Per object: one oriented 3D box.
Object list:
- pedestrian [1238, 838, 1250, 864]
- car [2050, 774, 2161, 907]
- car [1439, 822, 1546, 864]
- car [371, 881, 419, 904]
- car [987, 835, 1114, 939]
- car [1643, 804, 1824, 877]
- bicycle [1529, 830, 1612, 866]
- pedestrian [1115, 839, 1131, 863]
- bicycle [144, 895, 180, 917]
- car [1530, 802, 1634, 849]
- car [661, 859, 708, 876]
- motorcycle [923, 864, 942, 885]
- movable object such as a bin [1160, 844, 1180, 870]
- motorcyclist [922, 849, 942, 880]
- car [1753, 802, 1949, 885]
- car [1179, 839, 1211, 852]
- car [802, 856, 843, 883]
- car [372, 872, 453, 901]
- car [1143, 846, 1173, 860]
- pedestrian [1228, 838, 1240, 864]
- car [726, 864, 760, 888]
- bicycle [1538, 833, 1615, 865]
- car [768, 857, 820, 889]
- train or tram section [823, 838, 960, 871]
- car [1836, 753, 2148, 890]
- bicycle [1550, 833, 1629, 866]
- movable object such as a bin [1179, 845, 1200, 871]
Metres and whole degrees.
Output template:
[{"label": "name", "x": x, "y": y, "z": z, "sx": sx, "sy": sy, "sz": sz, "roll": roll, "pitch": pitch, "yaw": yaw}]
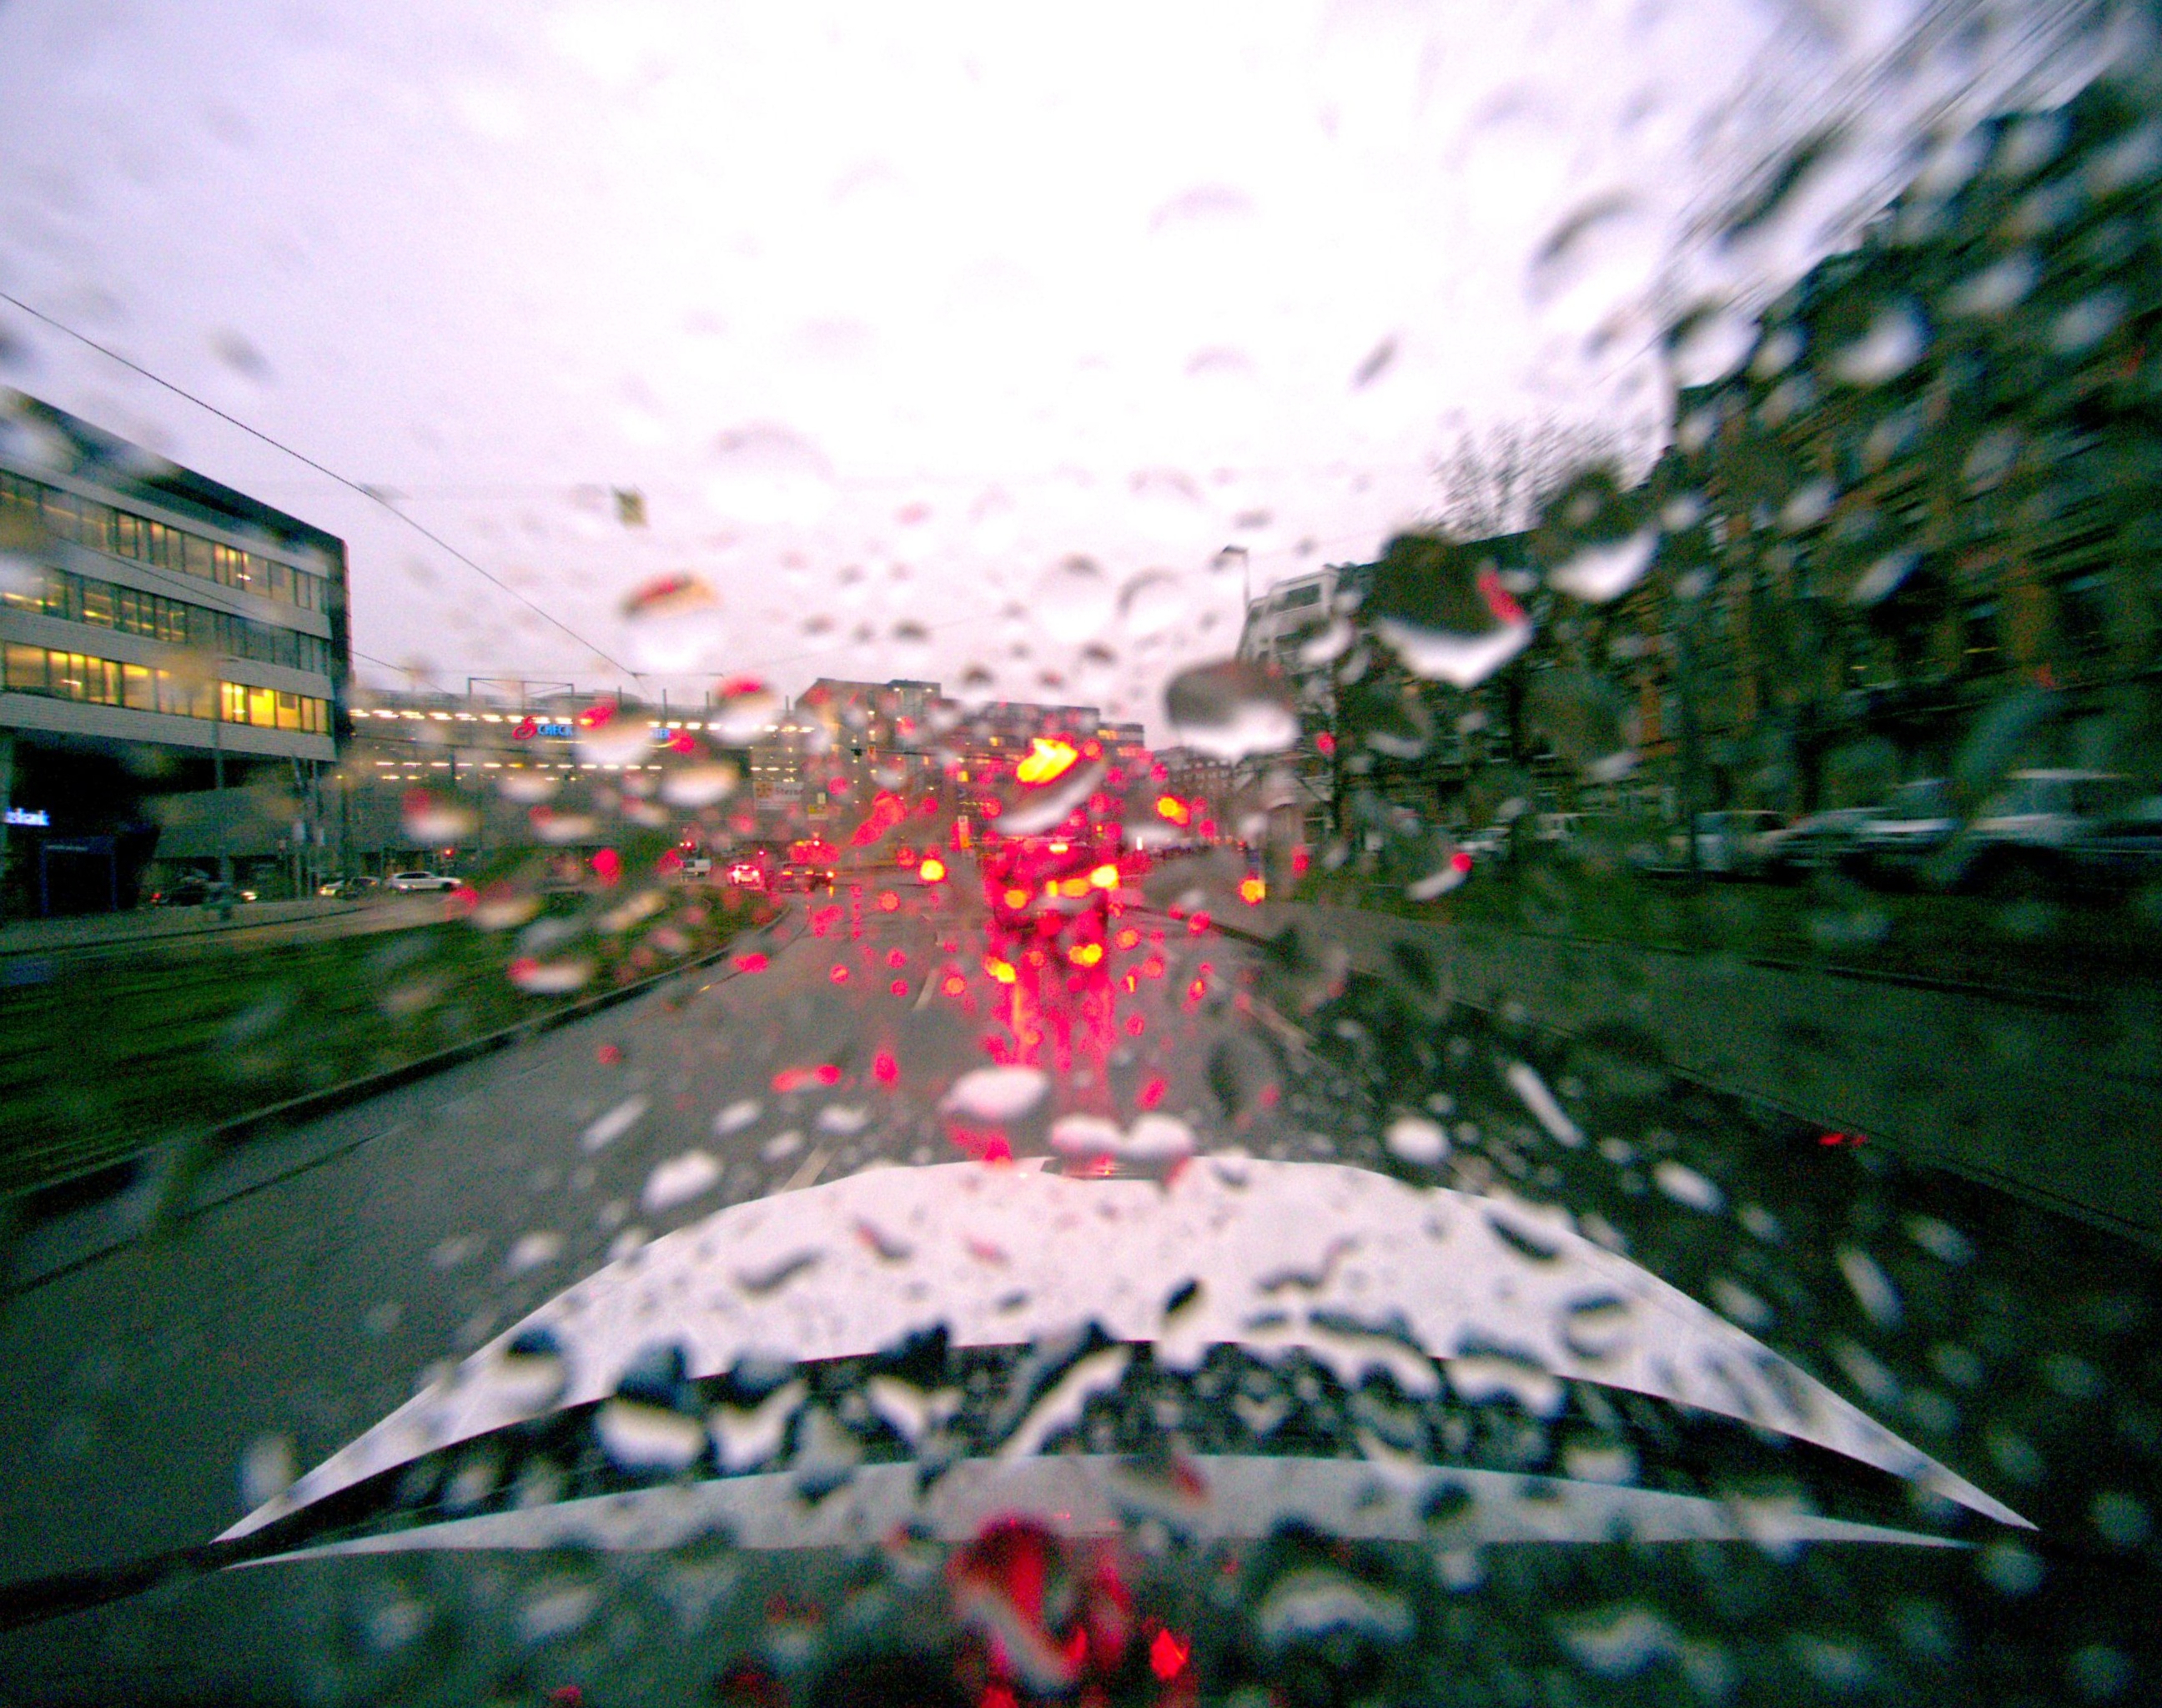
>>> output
[{"label": "pedestrian", "x": 10.872, "y": -0.191, "z": 54.252, "sx": 0.673, "sy": 1.714, "sz": 0.629, "roll": 0, "pitch": -1, "yaw": 1}, {"label": "car", "x": 12.592, "y": -0.264, "z": 8.736, "sx": 4.069, "sy": 1.234, "sz": 1.756, "roll": -5, "pitch": 2, "yaw": -24}, {"label": "car", "x": 15.293, "y": -0.418, "z": 30.250, "sx": 3.871, "sy": 1.337, "sz": 1.682, "roll": -3, "pitch": 0, "yaw": -30}, {"label": "car", "x": -48.429, "y": 2.661, "z": 57.546, "sx": 1.832, "sy": 1.435, "sz": 4.610, "roll": 0, "pitch": -1, "yaw": -30}, {"label": "car", "x": -0.748, "y": 0.579, "z": 15.962, "sx": 1.737, "sy": 1.738, "sz": 4.228, "roll": 0, "pitch": -1, "yaw": -13}, {"label": "car", "x": 14.101, "y": -0.292, "z": 17.608, "sx": 3.470, "sy": 1.443, "sz": 1.602, "roll": -1, "pitch": 0, "yaw": -23}, {"label": "bicycle", "x": 14.948, "y": -0.171, "z": 24.903, "sx": 2.157, "sy": 0.966, "sz": 0.626, "roll": -3, "pitch": 0, "yaw": -1}, {"label": "pedestrian", "x": 3.380, "y": -0.218, "z": 65.967, "sx": 1.168, "sy": 1.924, "sz": 0.897, "roll": 0, "pitch": -1, "yaw": -5}, {"label": "bicycle", "x": -50.266, "y": 2.814, "z": 44.559, "sx": 0.556, "sy": 1.090, "sz": 1.600, "roll": -3, "pitch": 0, "yaw": -20}, {"label": "car", "x": 24.003, "y": -1.307, "z": 39.301, "sx": 1.986, "sy": 2.013, "sz": 4.989, "roll": -4, "pitch": 0, "yaw": 2}, {"label": "car", "x": -48.979, "y": 1.648, "z": 100.634, "sx": 5.110, "sy": 1.962, "sz": 1.872, "roll": 0, "pitch": -1, "yaw": -30}, {"label": "motorcycle", "x": -7.690, "y": 1.046, "z": 42.137, "sx": 0.852, "sy": 0.971, "sz": 1.577, "roll": -3, "pitch": 0, "yaw": -8}, {"label": "movable object such as a bin", "x": 5.163, "y": 0.154, "z": 47.046, "sx": 1.008, "sy": 1.415, "sz": 1.227, "roll": -4, "pitch": 0, "yaw": 9}, {"label": "motorcyclist", "x": -7.714, "y": 0.549, "z": 42.138, "sx": 0.867, "sy": 1.534, "sz": 1.105, "roll": -3, "pitch": 0, "yaw": -7}, {"label": "car", "x": 14.089, "y": -0.214, "z": 14.888, "sx": 3.443, "sy": 1.351, "sz": 1.648, "roll": -2, "pitch": 0, "yaw": -30}, {"label": "car", "x": 17.298, "y": -1.254, "z": 123.203, "sx": 4.976, "sy": 2.014, "sz": 1.976, "roll": 0, "pitch": -1, "yaw": -42}, {"label": "car", "x": -17.196, "y": 1.032, "z": 54.102, "sx": 1.647, "sy": 1.697, "sz": 3.633, "roll": -1, "pitch": -1, "yaw": -33}, {"label": "car", "x": -49.836, "y": 2.391, "z": 60.833, "sx": 4.382, "sy": 2.014, "sz": 1.981, "roll": 0, "pitch": -1, "yaw": -30}, {"label": "car", "x": 11.028, "y": -0.182, "z": 116.882, "sx": 4.019, "sy": 2.014, "sz": 1.977, "roll": 0, "pitch": -1, "yaw": -38}, {"label": "pedestrian", "x": 10.172, "y": -0.195, "z": 54.229, "sx": 0.672, "sy": 1.714, "sz": 0.606, "roll": 0, "pitch": -1, "yaw": 1}, {"label": "car", "x": -23.705, "y": 1.526, "z": 57.039, "sx": 1.895, "sy": 1.486, "sz": 3.964, "roll": -3, "pitch": 0, "yaw": -27}, {"label": "bicycle", "x": 16.151, "y": -0.162, "z": 26.559, "sx": 2.157, "sy": 0.966, "sz": 0.626, "roll": -1, "pitch": 2, "yaw": -1}, {"label": "car", "x": -15.574, "y": 1.021, "z": 44.042, "sx": 1.765, "sy": 1.574, "sz": 3.959, "roll": -3, "pitch": 0, "yaw": -32}, {"label": "train or tram section", "x": -21.945, "y": -0.029, "z": 96.122, "sx": 16.755, "sy": 3.260, "sz": 2.308, "roll": -3, "pitch": 0, "yaw": -43}, {"label": "car", "x": 13.219, "y": -0.502, "z": 11.774, "sx": 4.673, "sy": 1.592, "sz": 1.762, "roll": -5, "pitch": 1, "yaw": -26}, {"label": "bicycle", "x": 16.162, "y": -0.142, "z": 25.914, "sx": 2.157, "sy": 0.966, "sz": 0.626, "roll": -1, "pitch": 2, "yaw": -1}, {"label": "movable object such as a bin", "x": 6.240, "y": 0.227, "z": 46.766, "sx": 1.026, "sy": 1.490, "sz": 1.045, "roll": -1, "pitch": -1, "yaw": 18}]
